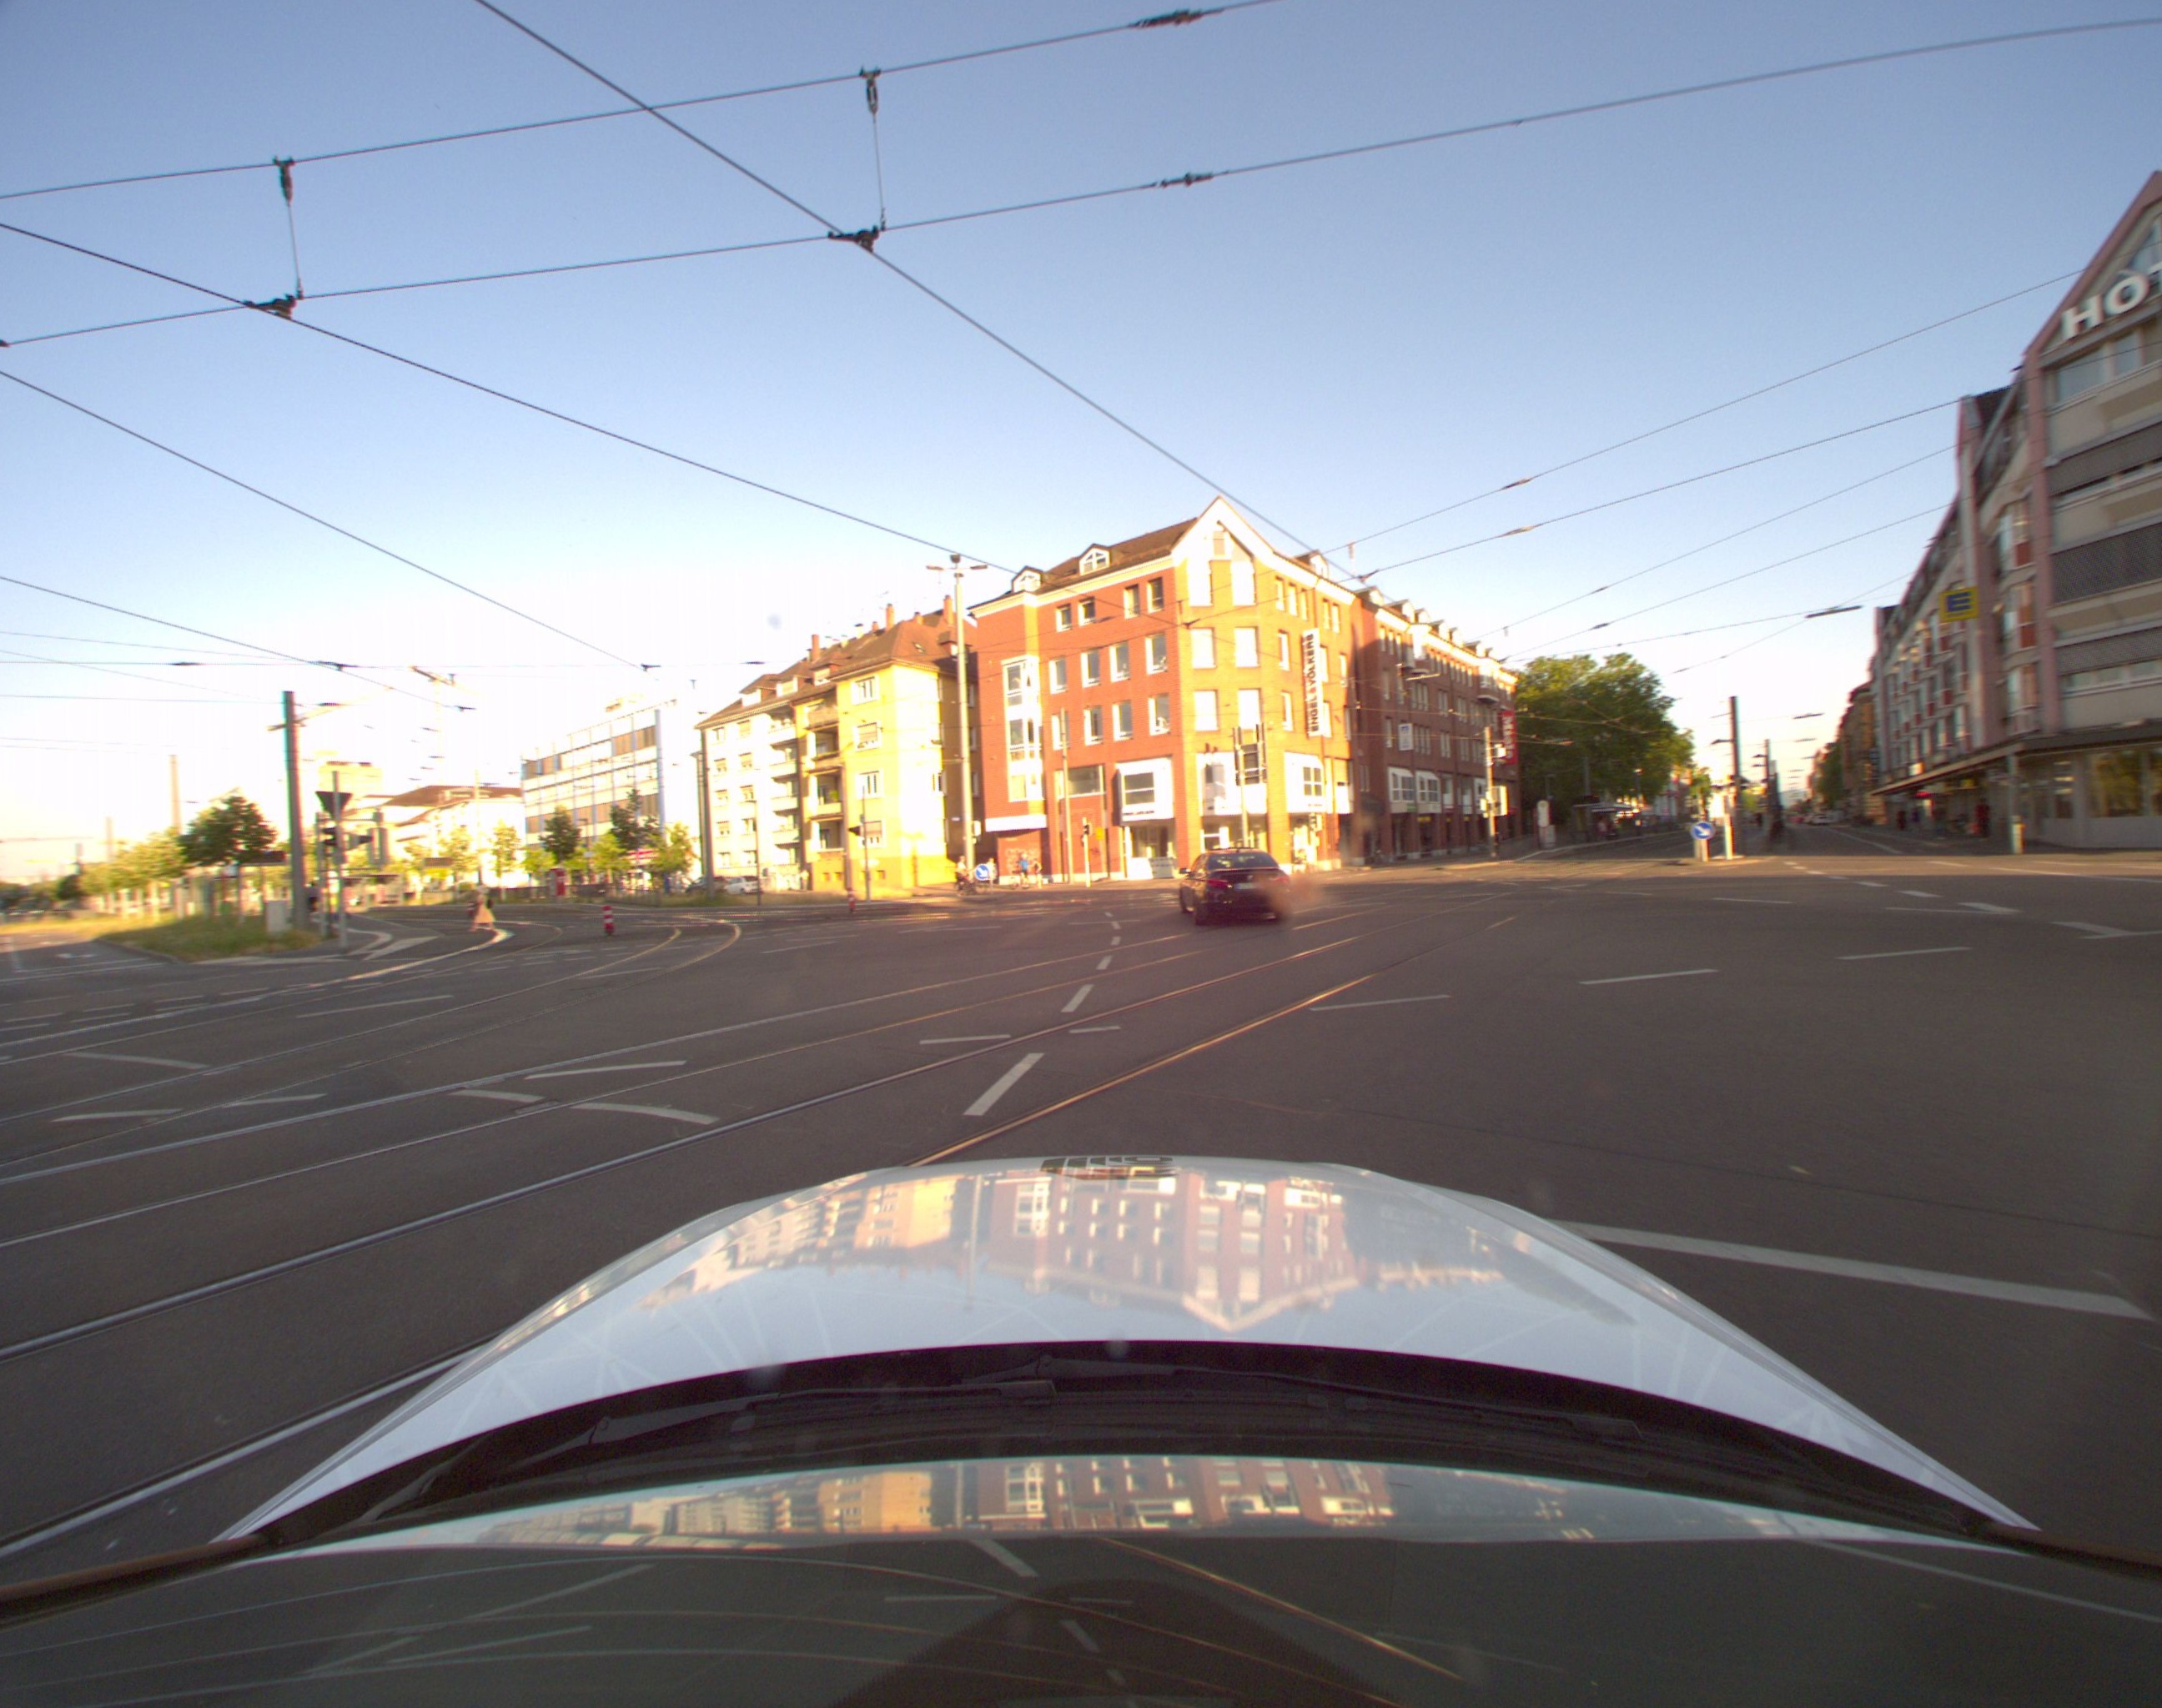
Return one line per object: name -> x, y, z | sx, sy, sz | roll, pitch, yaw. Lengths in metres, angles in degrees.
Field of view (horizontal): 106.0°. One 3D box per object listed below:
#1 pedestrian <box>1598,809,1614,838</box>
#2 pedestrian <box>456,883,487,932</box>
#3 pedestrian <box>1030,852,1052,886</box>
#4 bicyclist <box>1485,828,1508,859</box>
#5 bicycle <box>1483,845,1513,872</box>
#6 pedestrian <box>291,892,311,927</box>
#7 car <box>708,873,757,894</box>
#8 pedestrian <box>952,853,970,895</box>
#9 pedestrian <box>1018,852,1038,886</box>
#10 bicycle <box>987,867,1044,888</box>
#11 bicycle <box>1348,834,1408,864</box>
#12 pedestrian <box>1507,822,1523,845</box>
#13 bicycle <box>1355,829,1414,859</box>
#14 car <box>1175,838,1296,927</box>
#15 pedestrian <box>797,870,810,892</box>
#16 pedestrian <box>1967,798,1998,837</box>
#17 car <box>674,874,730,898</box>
pedestrian -> 37.523, -2.173, 58.199 | 0.800, 2.013, 0.682 | -3, 0, 37
pedestrian -> -19.871, 1.733, 26.566 | 0.710, 1.541, 0.630 | -3, 0, -36
pedestrian -> -2.169, 0.812, 44.037 | 0.862, 1.793, 0.715 | -3, 0, 29
bicyclist -> 34.617, -0.862, 67.806 | 1.278, 2.468, 1.679 | -3, 0, 40
bicycle -> 34.864, 0.339, 68.045 | 1.282, 2.013, 3.974 | -3, 0, 40
pedestrian -> -36.717, 2.589, 38.327 | 0.681, 1.590, 0.569 | -3, 0, 41
car -> -26.334, 2.236, 61.559 | 3.497, 1.420, 1.751 | -3, 0, 36
pedestrian -> -4.998, 0.817, 33.872 | 0.509, 1.708, 0.422 | -3, 0, 38
pedestrian -> -2.888, 0.808, 44.362 | 0.631, 1.778, 0.820 | -3, 0, 31
bicycle -> -3.539, 1.262, 43.727 | 3.024, 1.017, 0.937 | -3, 0, 31
bicycle -> 18.515, -0.283, 50.851 | 3.265, 1.726, 1.076 | -3, 0, 41
pedestrian -> 39.747, -1.866, 74.588 | 1.074, 2.013, 1.091 | -3, 0, 36
bicycle -> 19.268, -0.601, 51.741 | 3.265, 1.726, 1.076 | -3, 0, 40
car -> 3.072, 0.509, 17.045 | 1.833, 1.495, 4.296 | -4, 0, 3
pedestrian -> -20.089, 1.961, 58.968 | 0.713, 1.598, 0.727 | -3, -1, -30
pedestrian -> 37.381, -1.511, 33.773 | 0.698, 1.548, 0.913 | -1, 4, 39
car -> -30.271, 2.570, 65.036 | 4.293, 1.705, 2.133 | -3, 0, 35
